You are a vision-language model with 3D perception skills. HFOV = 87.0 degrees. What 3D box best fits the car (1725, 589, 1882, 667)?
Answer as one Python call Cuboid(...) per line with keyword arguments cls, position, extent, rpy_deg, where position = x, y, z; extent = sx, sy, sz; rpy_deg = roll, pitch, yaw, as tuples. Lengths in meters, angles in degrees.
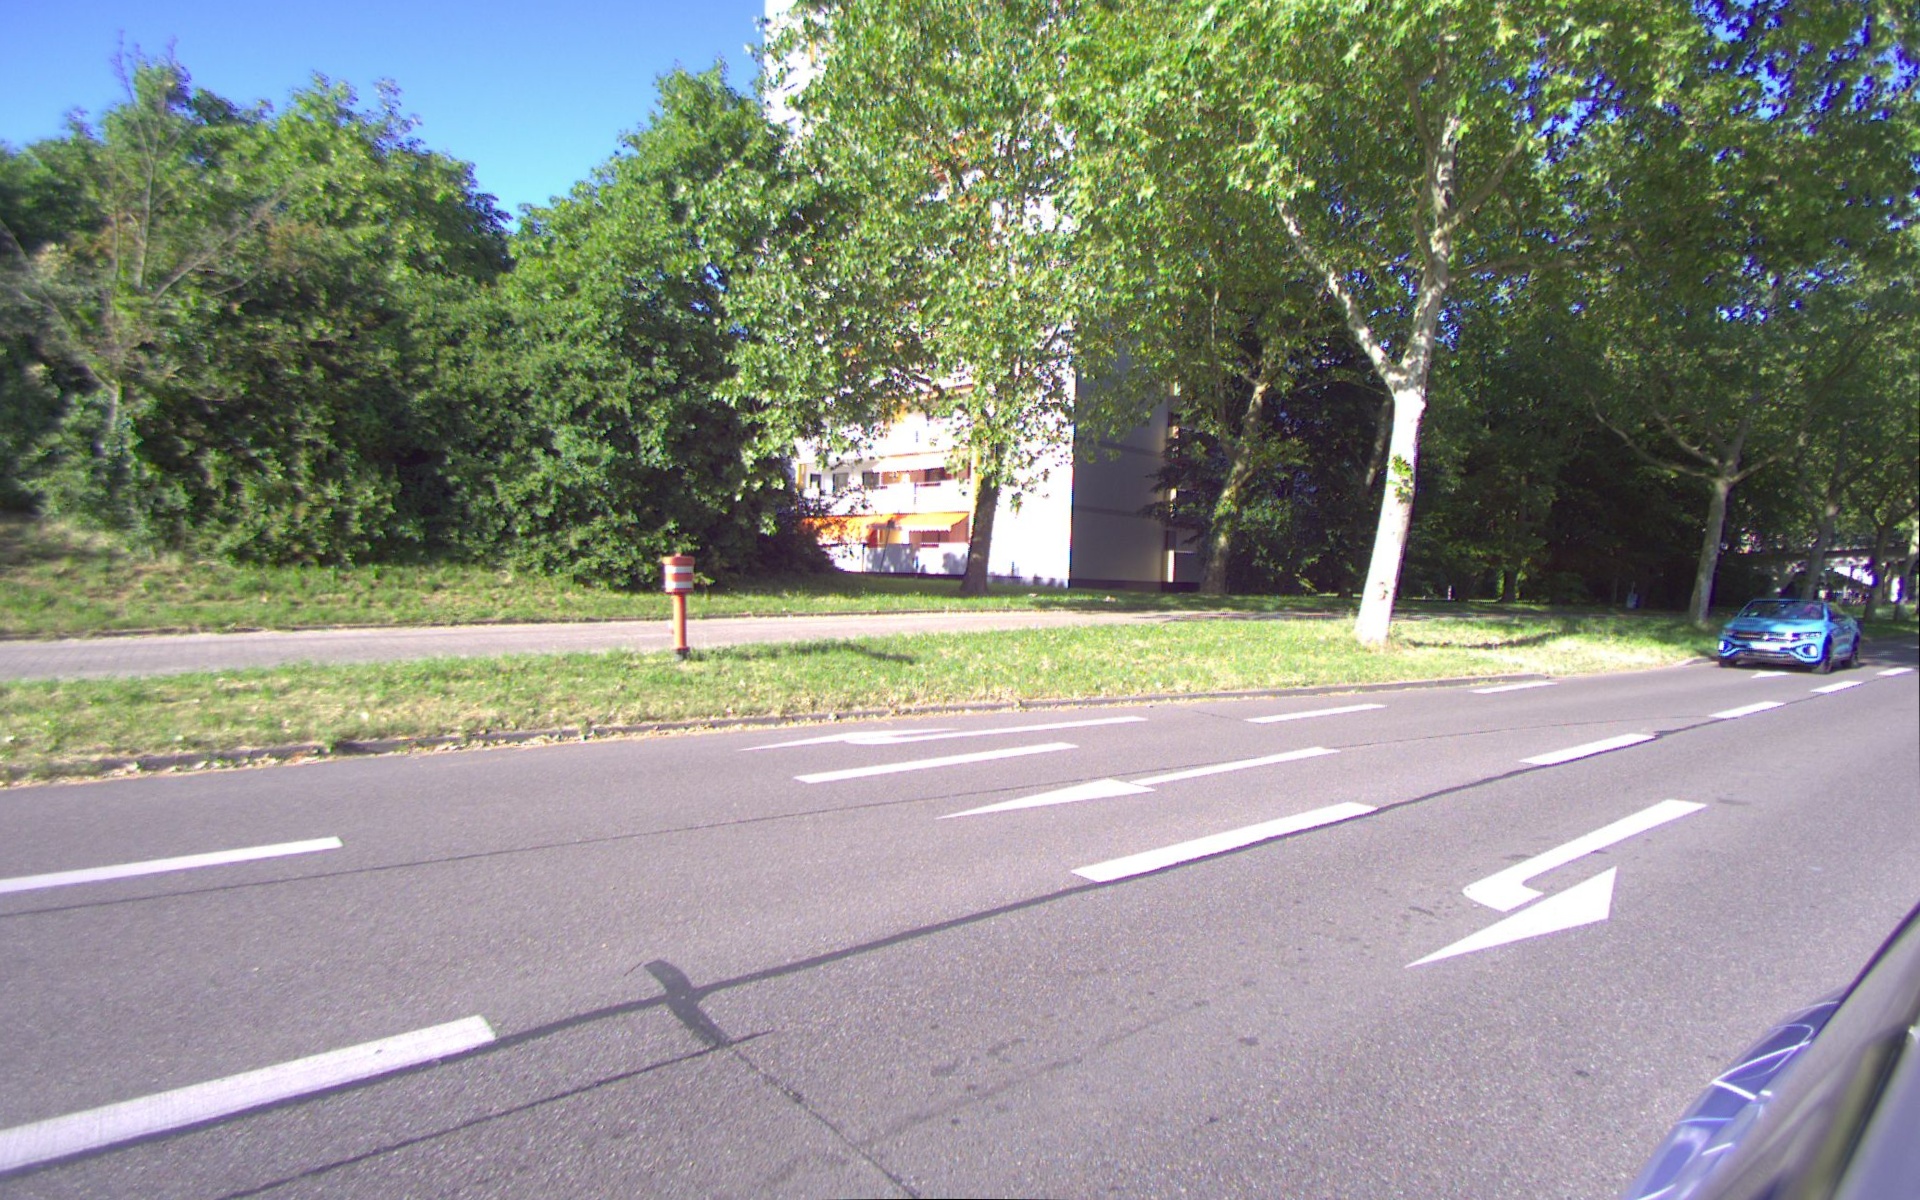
Cuboid(cls="car", position=(17.872, 0.513, 21.385), extent=(4.056, 1.468, 1.738), rpy_deg=(0, 1, -38))
